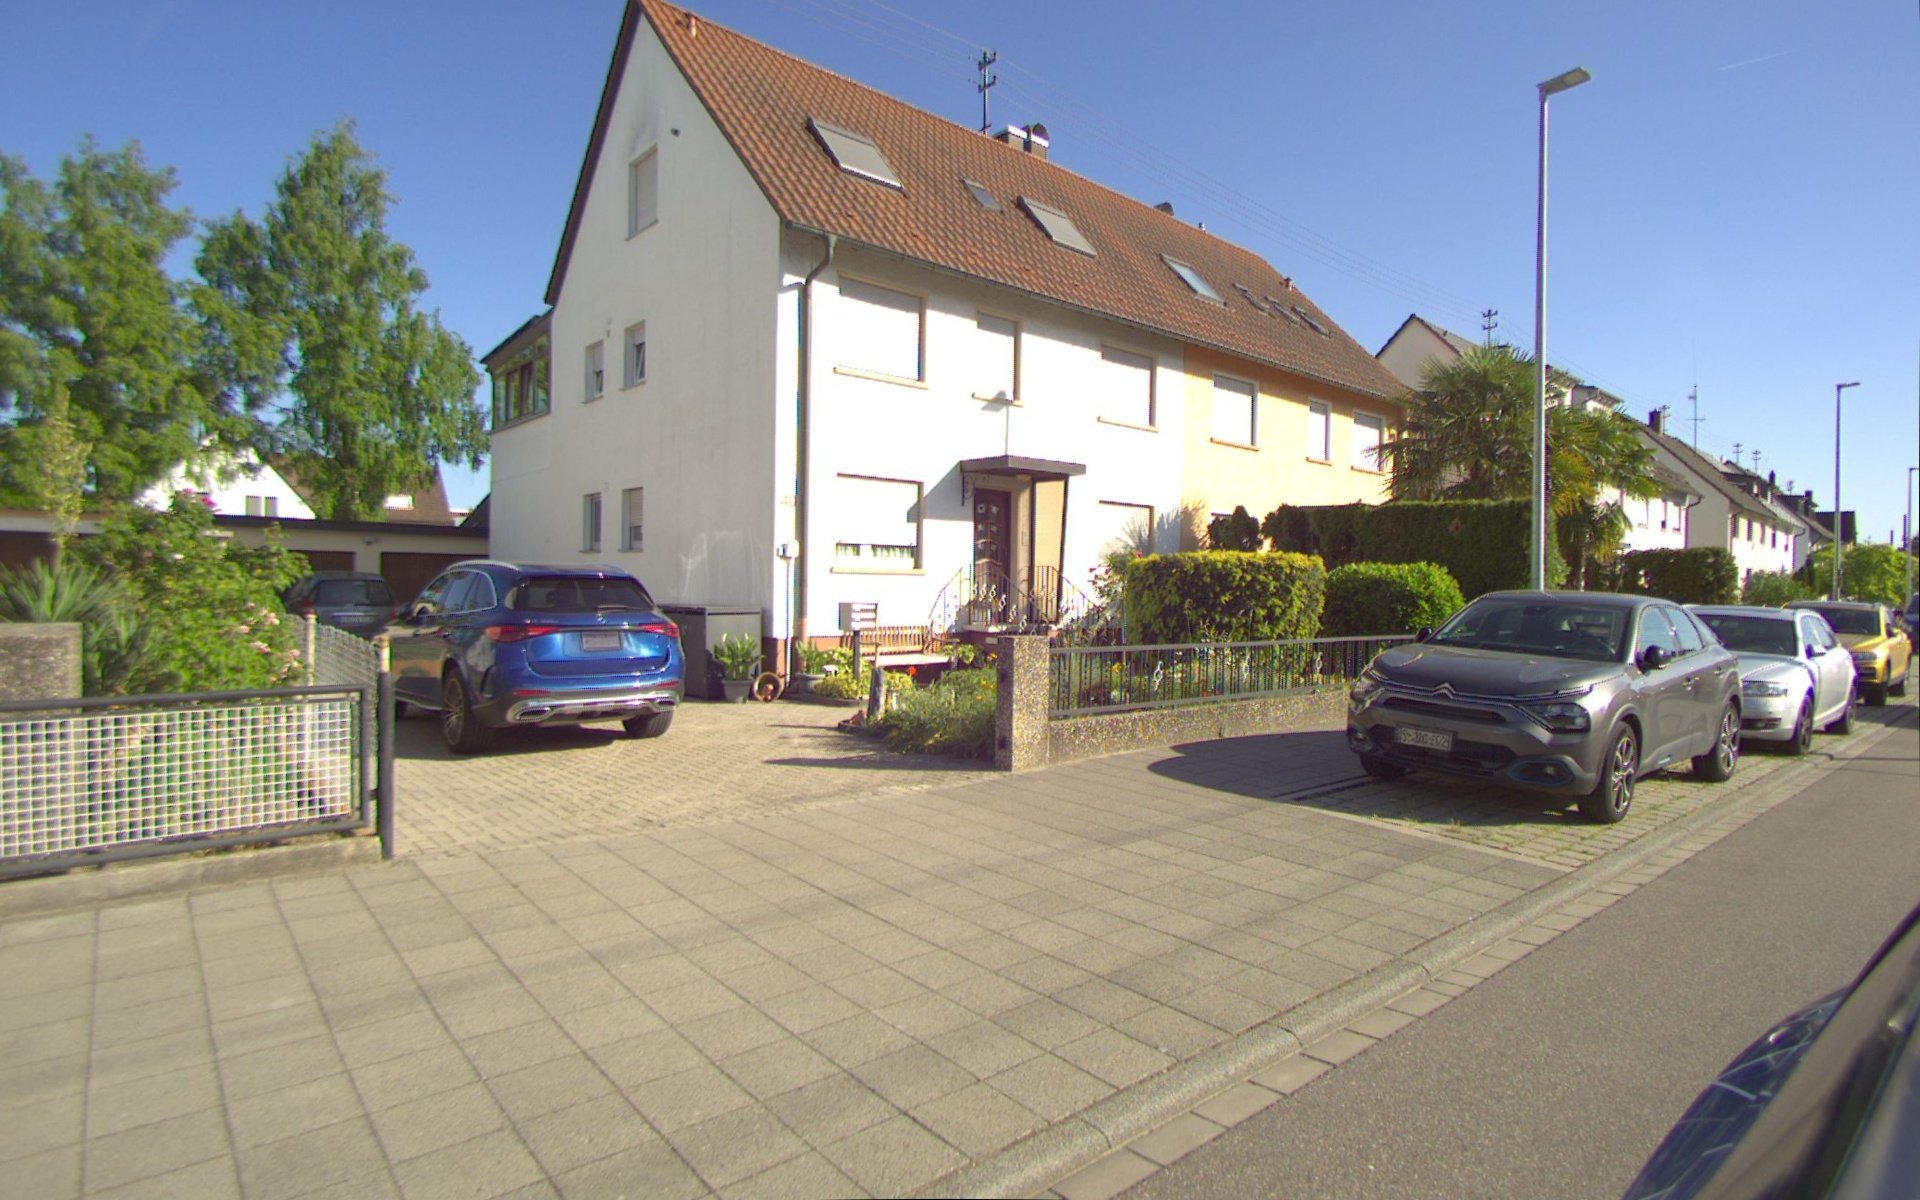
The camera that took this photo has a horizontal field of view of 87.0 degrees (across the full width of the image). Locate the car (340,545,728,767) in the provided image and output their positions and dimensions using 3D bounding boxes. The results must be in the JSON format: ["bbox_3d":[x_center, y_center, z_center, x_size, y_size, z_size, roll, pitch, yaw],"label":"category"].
[{"bbox_3d":[-4.378,0.381,9.997,2.160,1.676,4.419,0,1,-43],"label":"car"}]

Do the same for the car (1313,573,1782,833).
[{"bbox_3d":[4.916,0.597,8.151,4.644,1.517,1.781,0,1,-40],"label":"car"}]

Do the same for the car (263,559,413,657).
[{"bbox_3d":[-11.654,0.080,18.857,1.782,1.639,3.820,0,1,-41],"label":"car"}]

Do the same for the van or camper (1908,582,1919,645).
[{"bbox_3d":[31.022,0.416,31.372,5.488,1.869,1.952,0,2,-43],"label":"van or camper"}]

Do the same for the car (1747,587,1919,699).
[{"bbox_3d":[14.921,0.601,16.979,4.841,1.578,1.809,0,2,-41],"label":"car"}]

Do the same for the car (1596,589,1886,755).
[{"bbox_3d":[8.982,0.694,11.477,4.616,1.465,1.751,1,1,-42],"label":"car"}]
